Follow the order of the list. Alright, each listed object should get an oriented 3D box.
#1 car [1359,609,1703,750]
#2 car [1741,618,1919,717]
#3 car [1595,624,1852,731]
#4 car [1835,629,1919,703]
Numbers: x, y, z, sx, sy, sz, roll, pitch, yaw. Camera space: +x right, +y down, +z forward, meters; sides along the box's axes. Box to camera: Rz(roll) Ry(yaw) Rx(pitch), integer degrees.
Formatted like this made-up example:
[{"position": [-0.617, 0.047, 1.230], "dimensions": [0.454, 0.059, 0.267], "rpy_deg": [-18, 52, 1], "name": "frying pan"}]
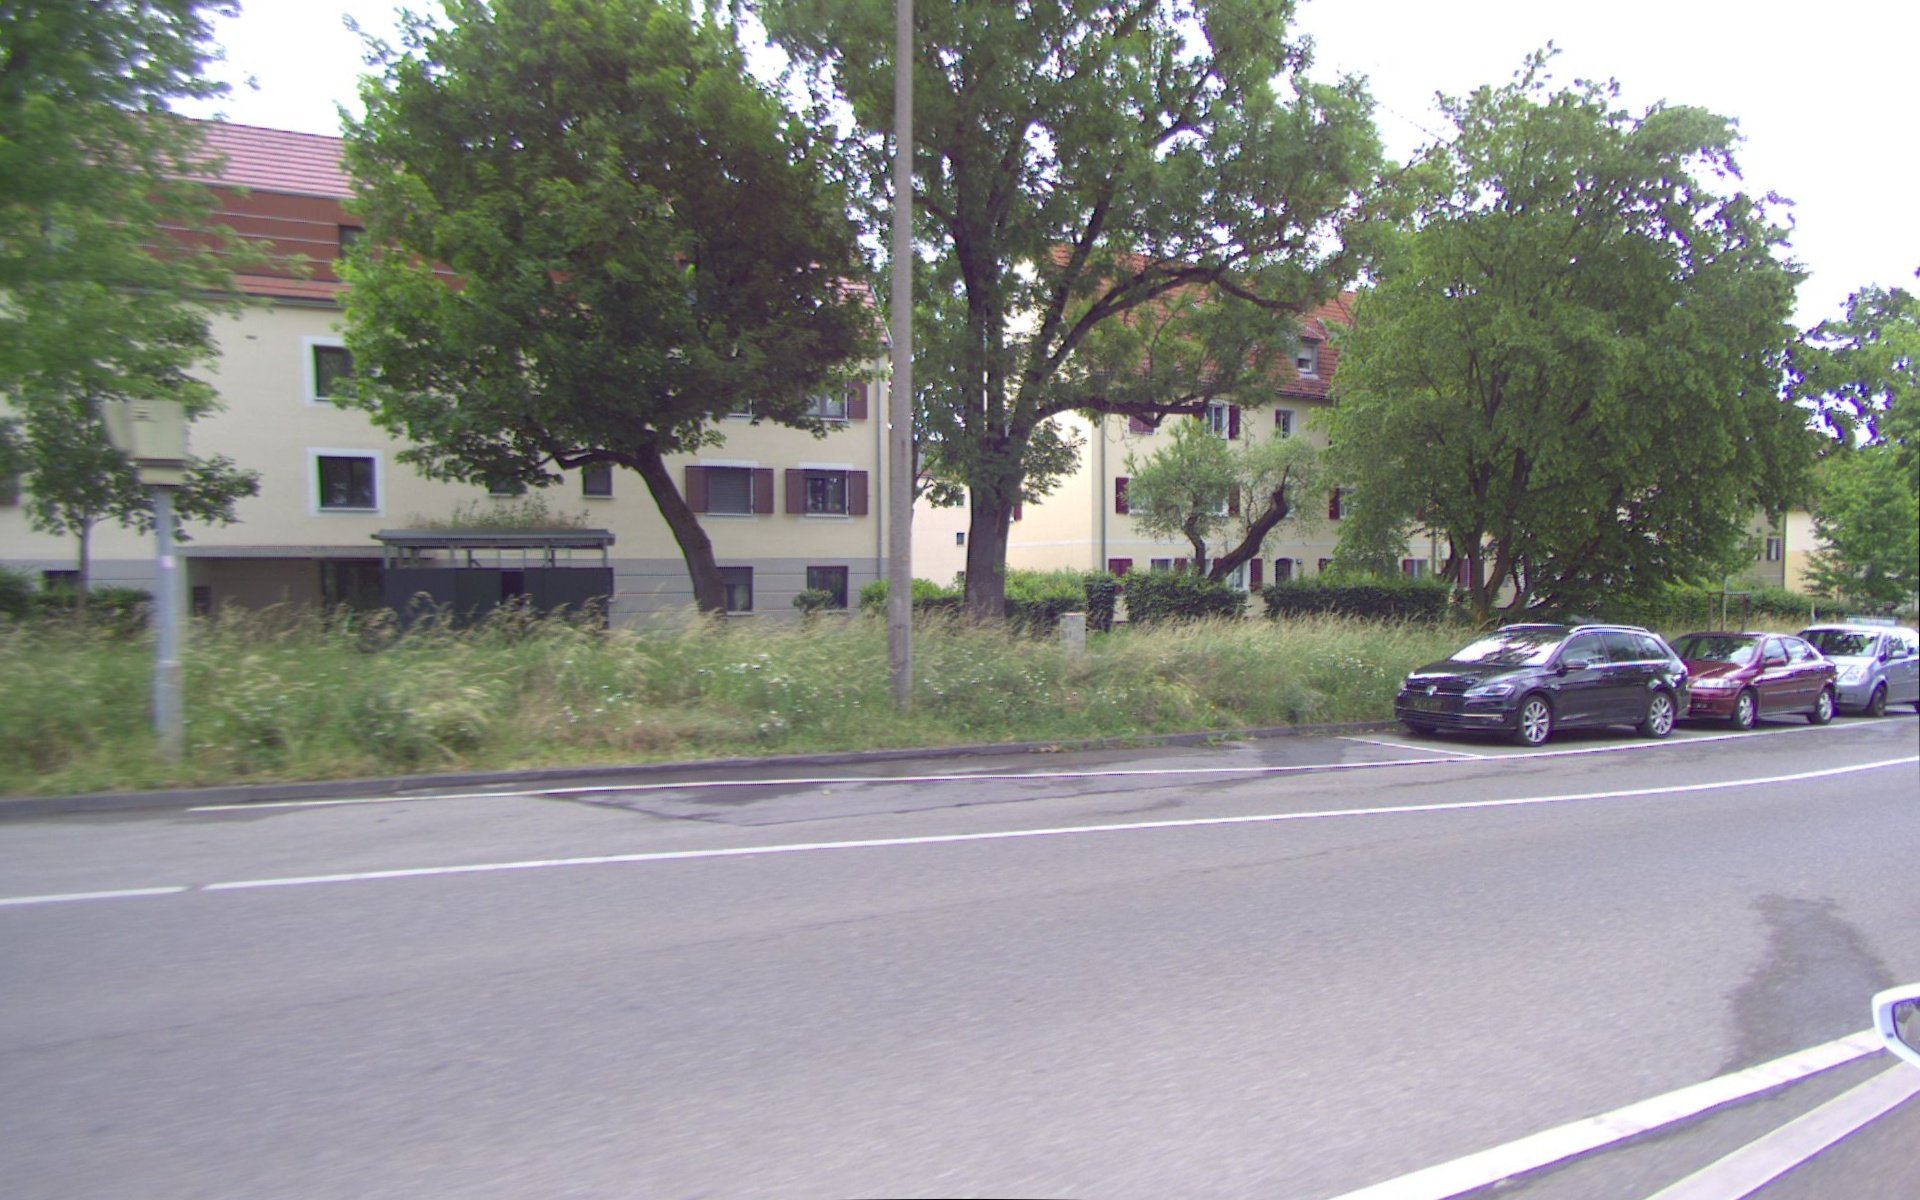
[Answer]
[{"position": [7.727, 0.983, 13.511], "dimensions": [4.593, 1.591, 1.867], "rpy_deg": [2, 0, -28], "name": "car"}, {"position": [16.470, 1.186, 18.710], "dimensions": [4.089, 1.613, 1.758], "rpy_deg": [1, 0, -32], "name": "car"}, {"position": [12.138, 1.151, 15.930], "dimensions": [4.099, 1.467, 1.760], "rpy_deg": [1, 0, -29], "name": "car"}, {"position": [21.582, 1.432, 22.479], "dimensions": [4.306, 1.515, 1.759], "rpy_deg": [1, -1, -30], "name": "car"}]
